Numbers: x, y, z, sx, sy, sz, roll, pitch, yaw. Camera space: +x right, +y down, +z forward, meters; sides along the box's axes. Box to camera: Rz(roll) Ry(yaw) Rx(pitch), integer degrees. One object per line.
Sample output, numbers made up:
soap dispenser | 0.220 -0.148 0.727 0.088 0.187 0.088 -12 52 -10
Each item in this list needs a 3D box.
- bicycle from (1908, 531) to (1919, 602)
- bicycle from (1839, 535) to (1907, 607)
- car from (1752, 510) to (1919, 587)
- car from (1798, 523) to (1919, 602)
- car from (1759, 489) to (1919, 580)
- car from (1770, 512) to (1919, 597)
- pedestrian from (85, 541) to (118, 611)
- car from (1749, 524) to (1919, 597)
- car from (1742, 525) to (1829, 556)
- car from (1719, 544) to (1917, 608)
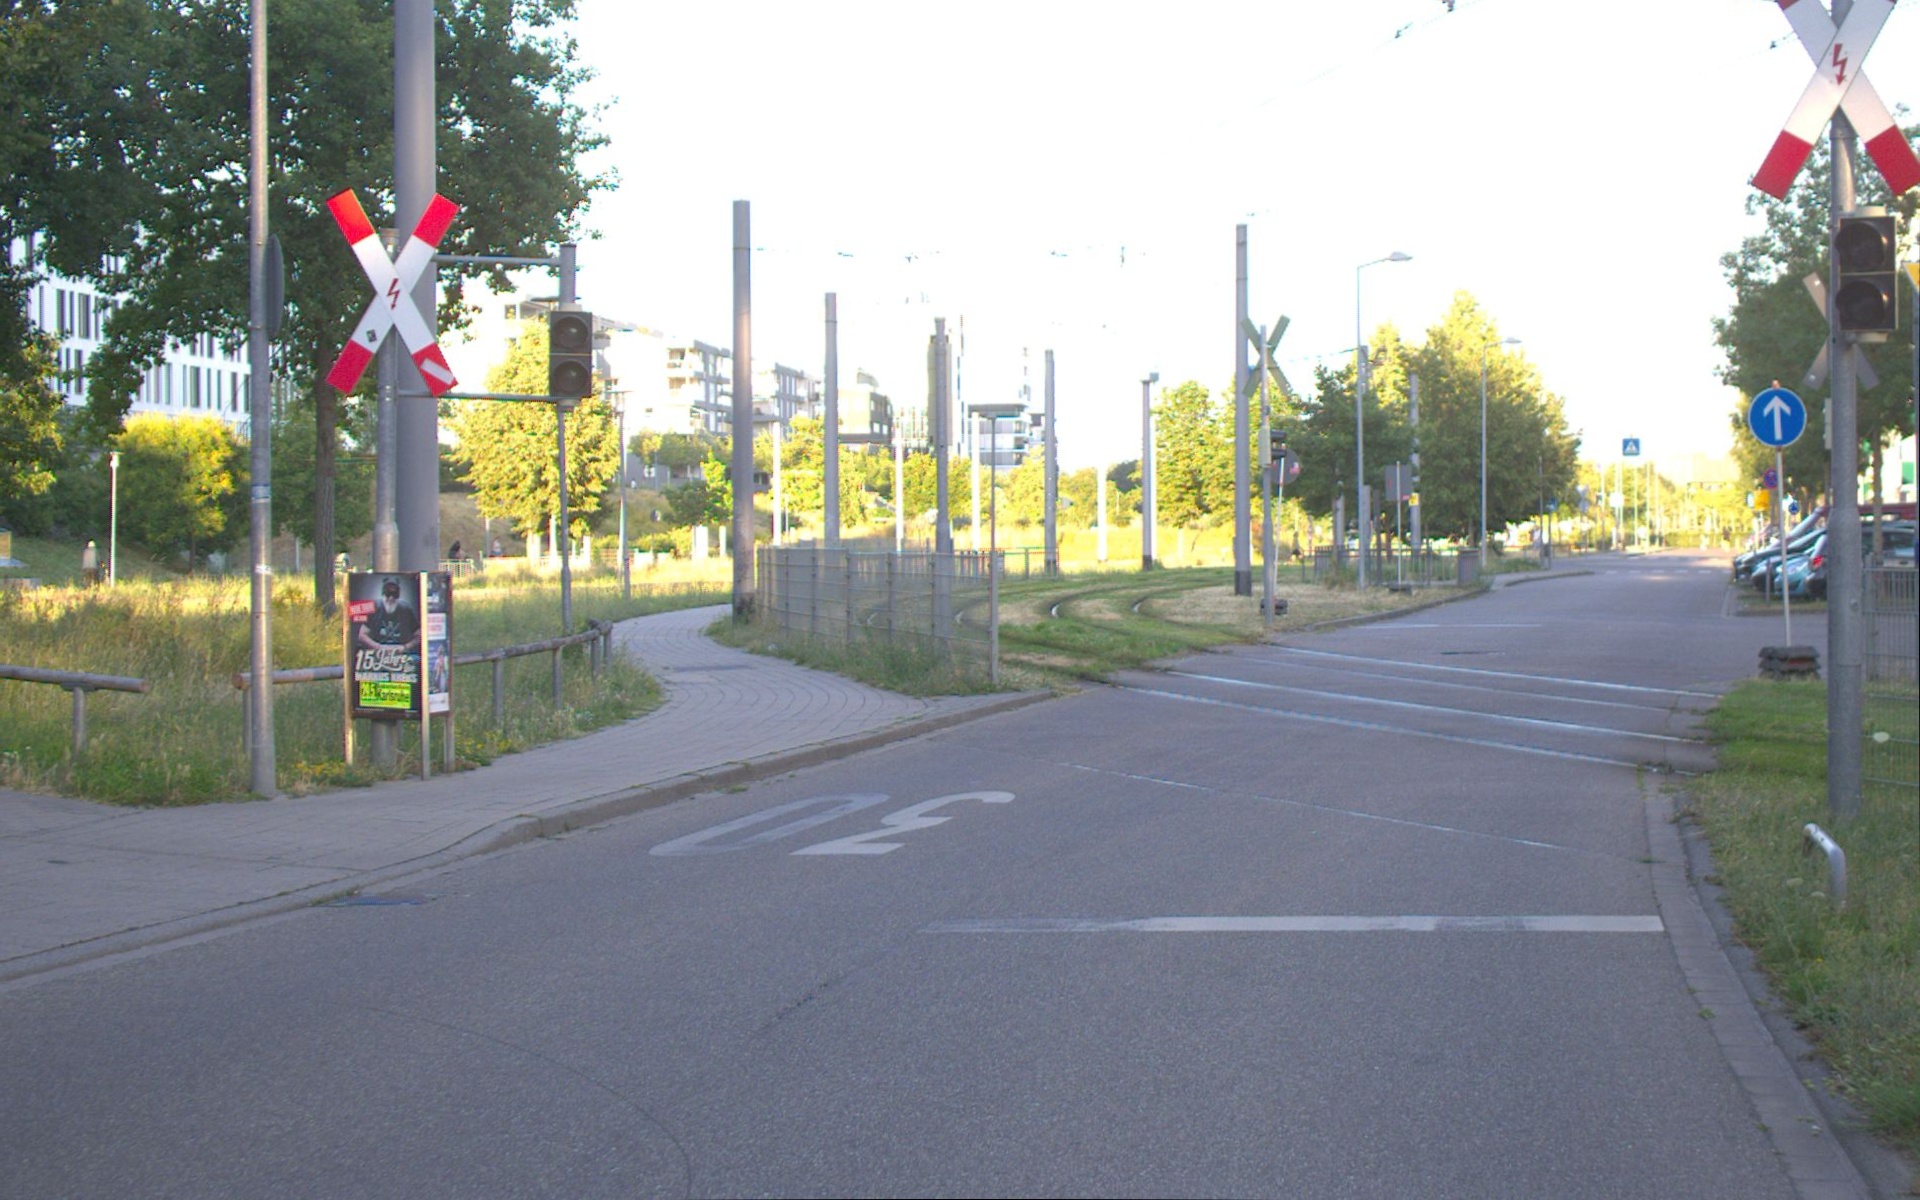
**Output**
bicycle | 16.843 -0.590 59.436 0.679 1.148 1.927 -2 2 11
bicycle | 15.833 -0.511 59.644 0.716 1.148 1.898 -2 3 2
car | 19.737 -1.151 76.149 4.218 1.563 1.791 -2 1 13
car | 17.665 -0.708 64.282 3.750 1.468 1.613 0 1 9
car | 21.421 -1.555 81.238 4.923 2.110 2.015 0 1 14
car | 17.796 -0.901 66.566 4.052 1.563 1.672 -1 1 13
pedestrian | -25.556 -0.715 102.353 0.616 2.075 0.790 2 1 12
car | 18.419 -0.812 71.800 3.775 1.490 1.538 0 -1 13
car | 43.883 -3.175 182.687 4.487 1.590 1.999 0 1 14
car | 21.112 -0.594 84.661 4.672 1.551 1.810 0 1 14
